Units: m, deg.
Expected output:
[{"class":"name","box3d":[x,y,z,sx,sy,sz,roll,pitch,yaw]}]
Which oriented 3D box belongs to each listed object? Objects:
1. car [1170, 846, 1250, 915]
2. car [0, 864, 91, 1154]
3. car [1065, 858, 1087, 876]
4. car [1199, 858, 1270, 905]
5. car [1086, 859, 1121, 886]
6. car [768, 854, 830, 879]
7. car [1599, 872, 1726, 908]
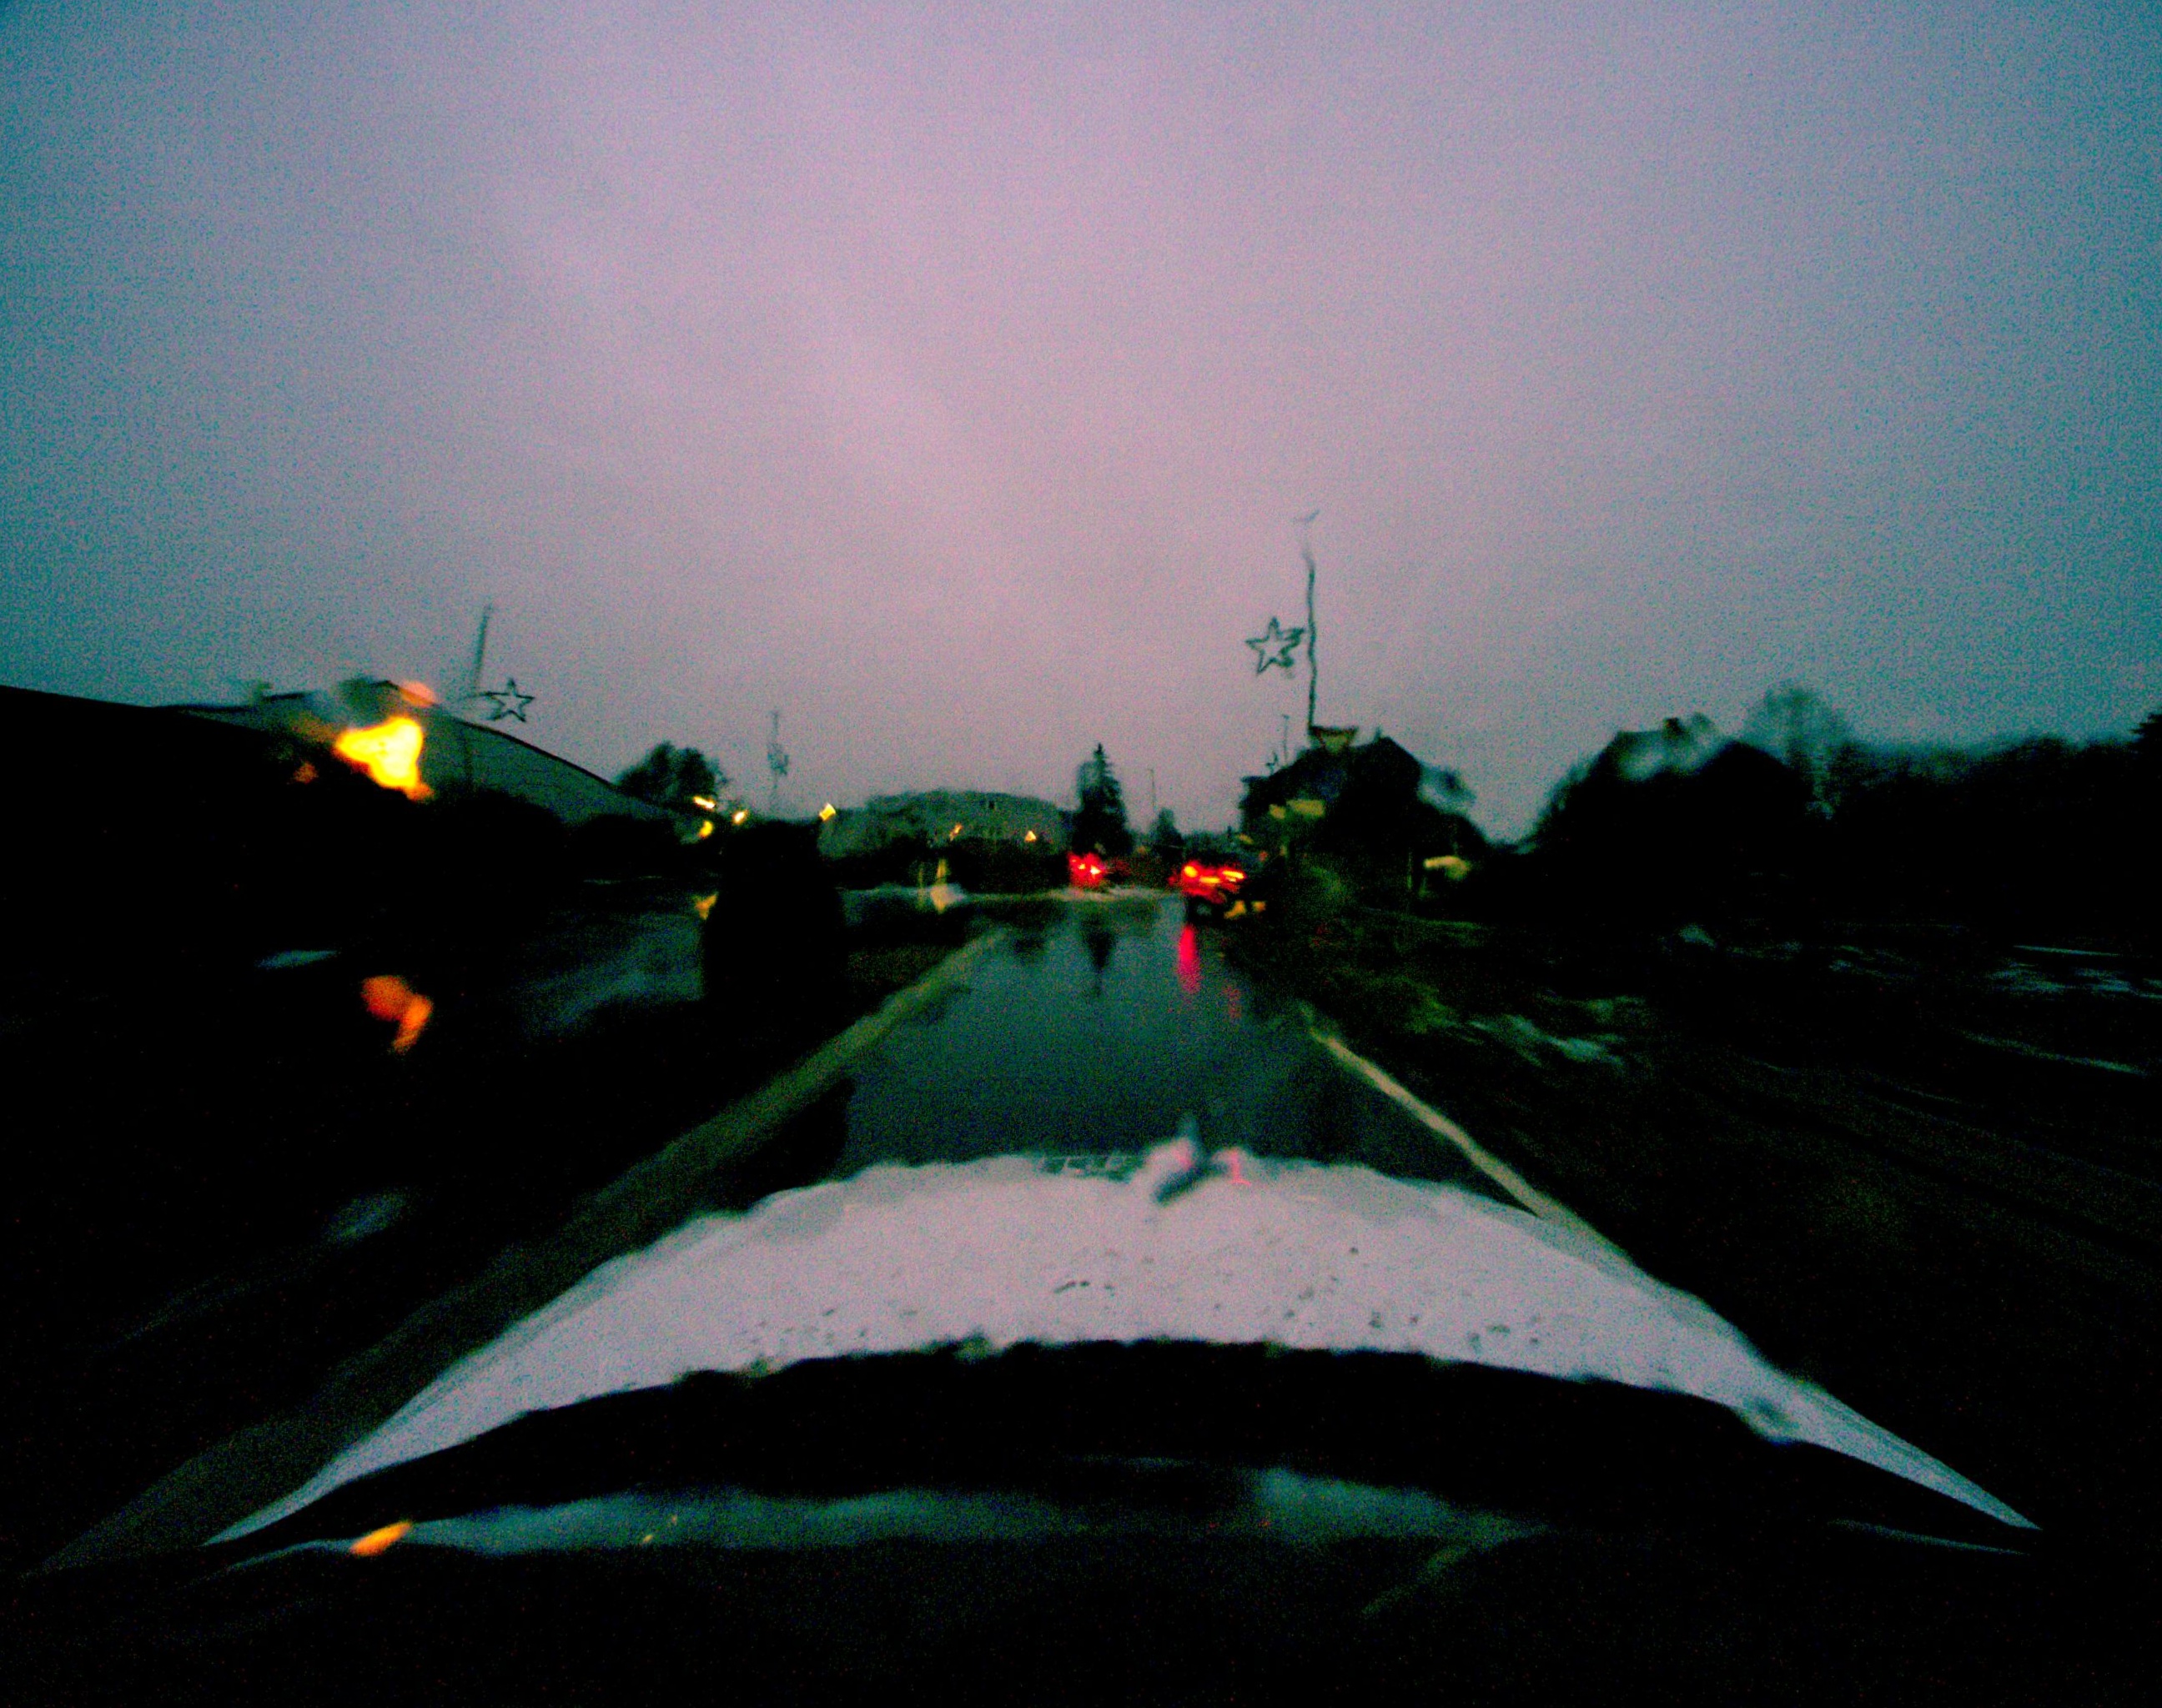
[{"class":"car","box3d":[3.529,0.692,22.948,1.935,1.718,4.005,1,0,5]},{"class":"car","box3d":[-6.215,0.790,2.632,1.603,1.469,3.681,0,0,-3]},{"class":"car","box3d":[-0.465,1.193,74.512,1.769,1.544,3.994,0,-1,-4]},{"class":"car","box3d":[6.282,1.079,33.879,2.156,1.689,4.572,0,1,0]},{"class":"car","box3d":[1.385,1.177,51.392,1.878,1.615,4.566,0,-2,-3]},{"class":"car","box3d":[-20.238,0.902,58.466,4.226,1.561,2.077,2,-2,36]},{"class":"car","box3d":[31.985,1.926,44.946,2.378,1.865,5.272,0,-1,-37]}]
